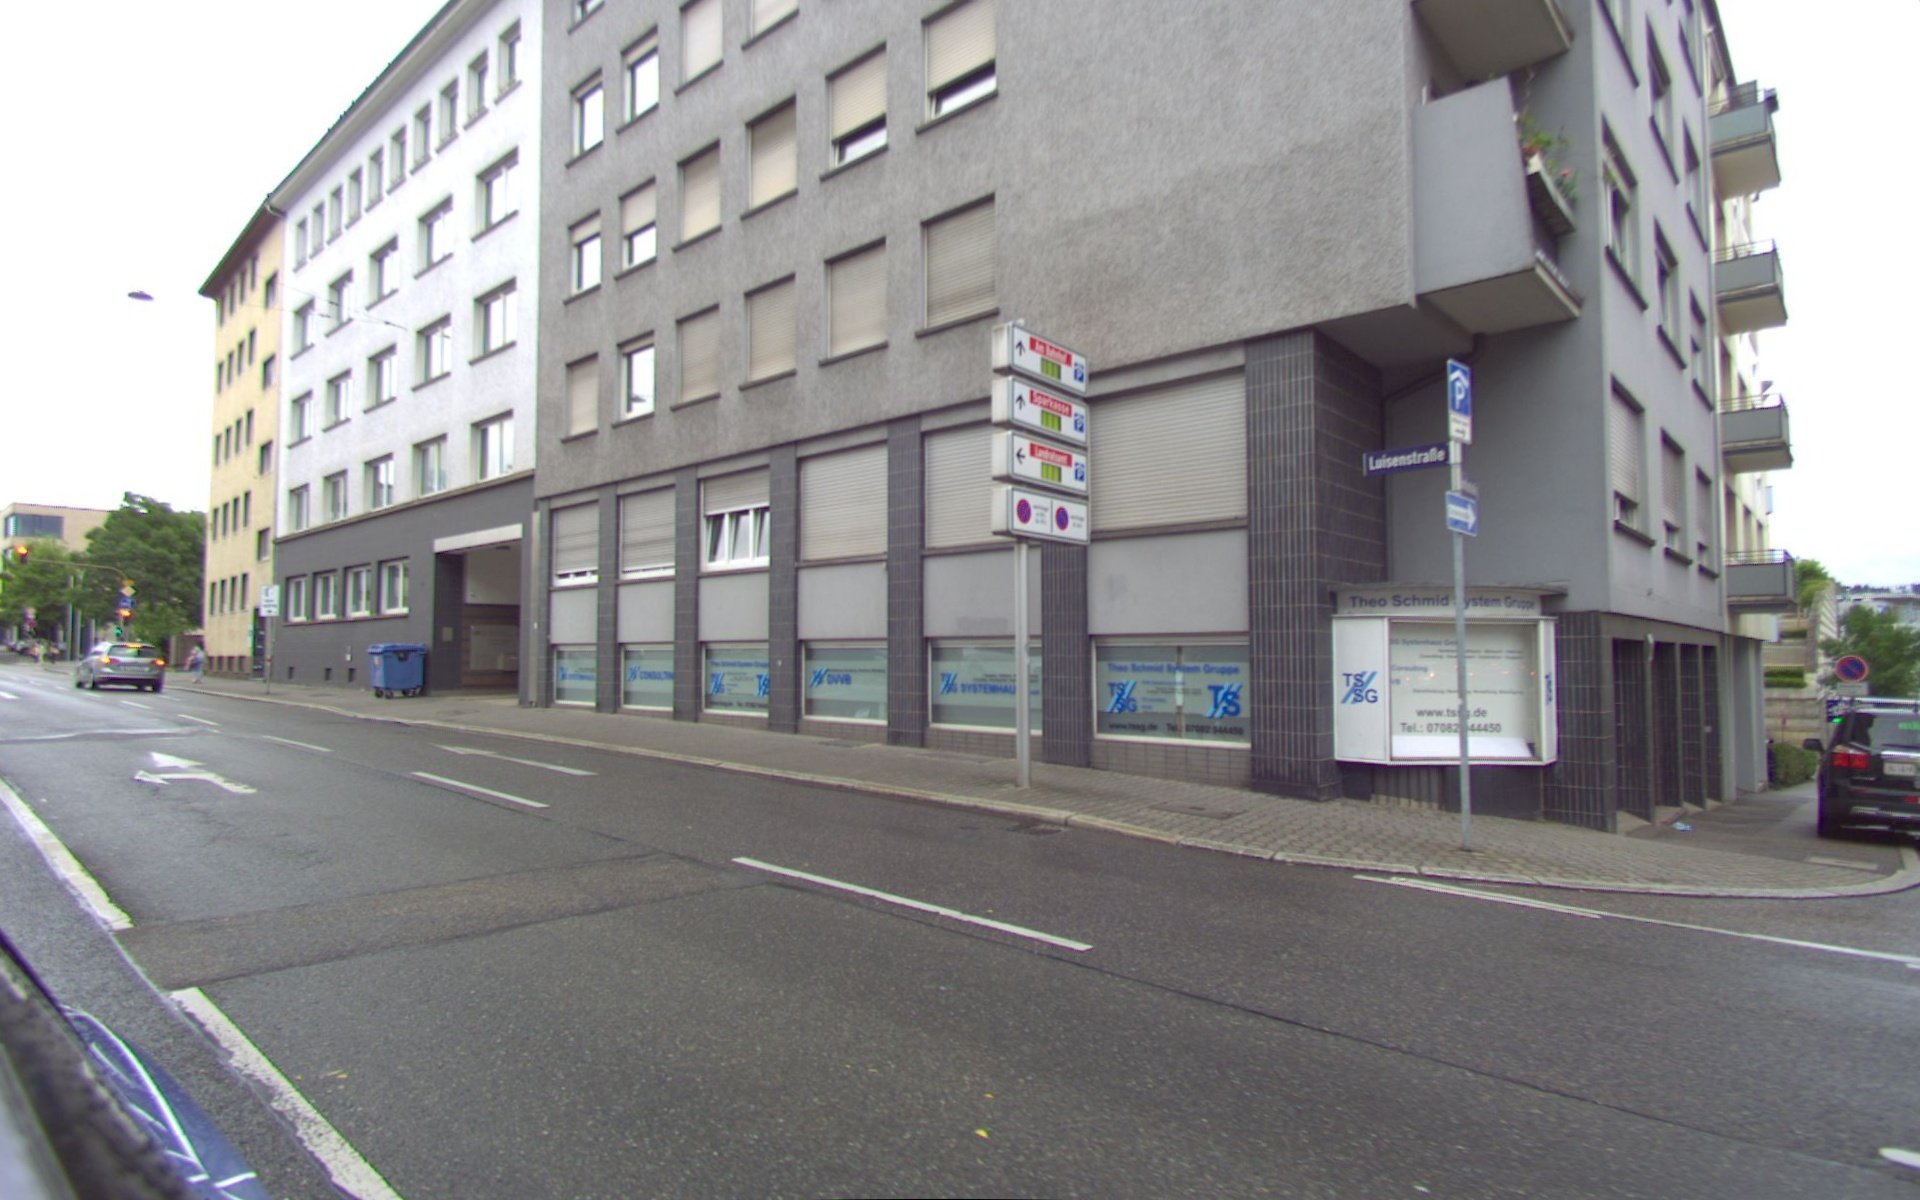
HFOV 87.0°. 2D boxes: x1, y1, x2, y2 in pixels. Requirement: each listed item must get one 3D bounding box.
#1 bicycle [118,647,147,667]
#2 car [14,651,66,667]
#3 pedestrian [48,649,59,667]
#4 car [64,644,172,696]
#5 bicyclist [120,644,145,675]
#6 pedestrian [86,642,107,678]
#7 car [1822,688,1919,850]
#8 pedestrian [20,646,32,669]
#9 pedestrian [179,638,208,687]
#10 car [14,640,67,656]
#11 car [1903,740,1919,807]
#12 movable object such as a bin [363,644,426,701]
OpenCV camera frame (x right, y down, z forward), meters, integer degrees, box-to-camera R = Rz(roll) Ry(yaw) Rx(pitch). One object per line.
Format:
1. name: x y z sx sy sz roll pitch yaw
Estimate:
1. bicycle: -39.730 2.733 48.607 1.867 0.914 0.875 -2 -2 44
2. car: -96.476 6.187 106.130 3.940 1.597 2.001 1 -2 -44
3. pedestrian: -71.548 4.551 79.871 0.475 1.386 0.614 -2 -3 42
4. car: -25.775 2.137 30.934 4.293 1.427 1.807 -3 -7 41
5. bicyclist: -39.735 2.838 48.621 0.813 1.453 0.833 -3 -3 44
6. pedestrian: -41.489 2.886 48.625 0.811 1.702 0.709 -3 -3 44
7. car: 11.884 2.053 12.411 1.929 1.731 3.946 -2 -7 40
8. pedestrian: -72.783 4.462 78.870 0.692 1.785 0.588 -2 -2 41
9. pedestrian: -27.425 2.220 36.194 0.811 1.702 0.709 -3 -3 44
10. car: -94.809 4.955 104.381 3.940 1.597 2.001 1 -2 -44
11. car: 23.288 4.058 23.413 1.929 1.471 3.946 -2 -7 40
12. movable object such as a bin: -14.107 1.787 25.254 1.190 1.334 1.064 -2 -2 42
